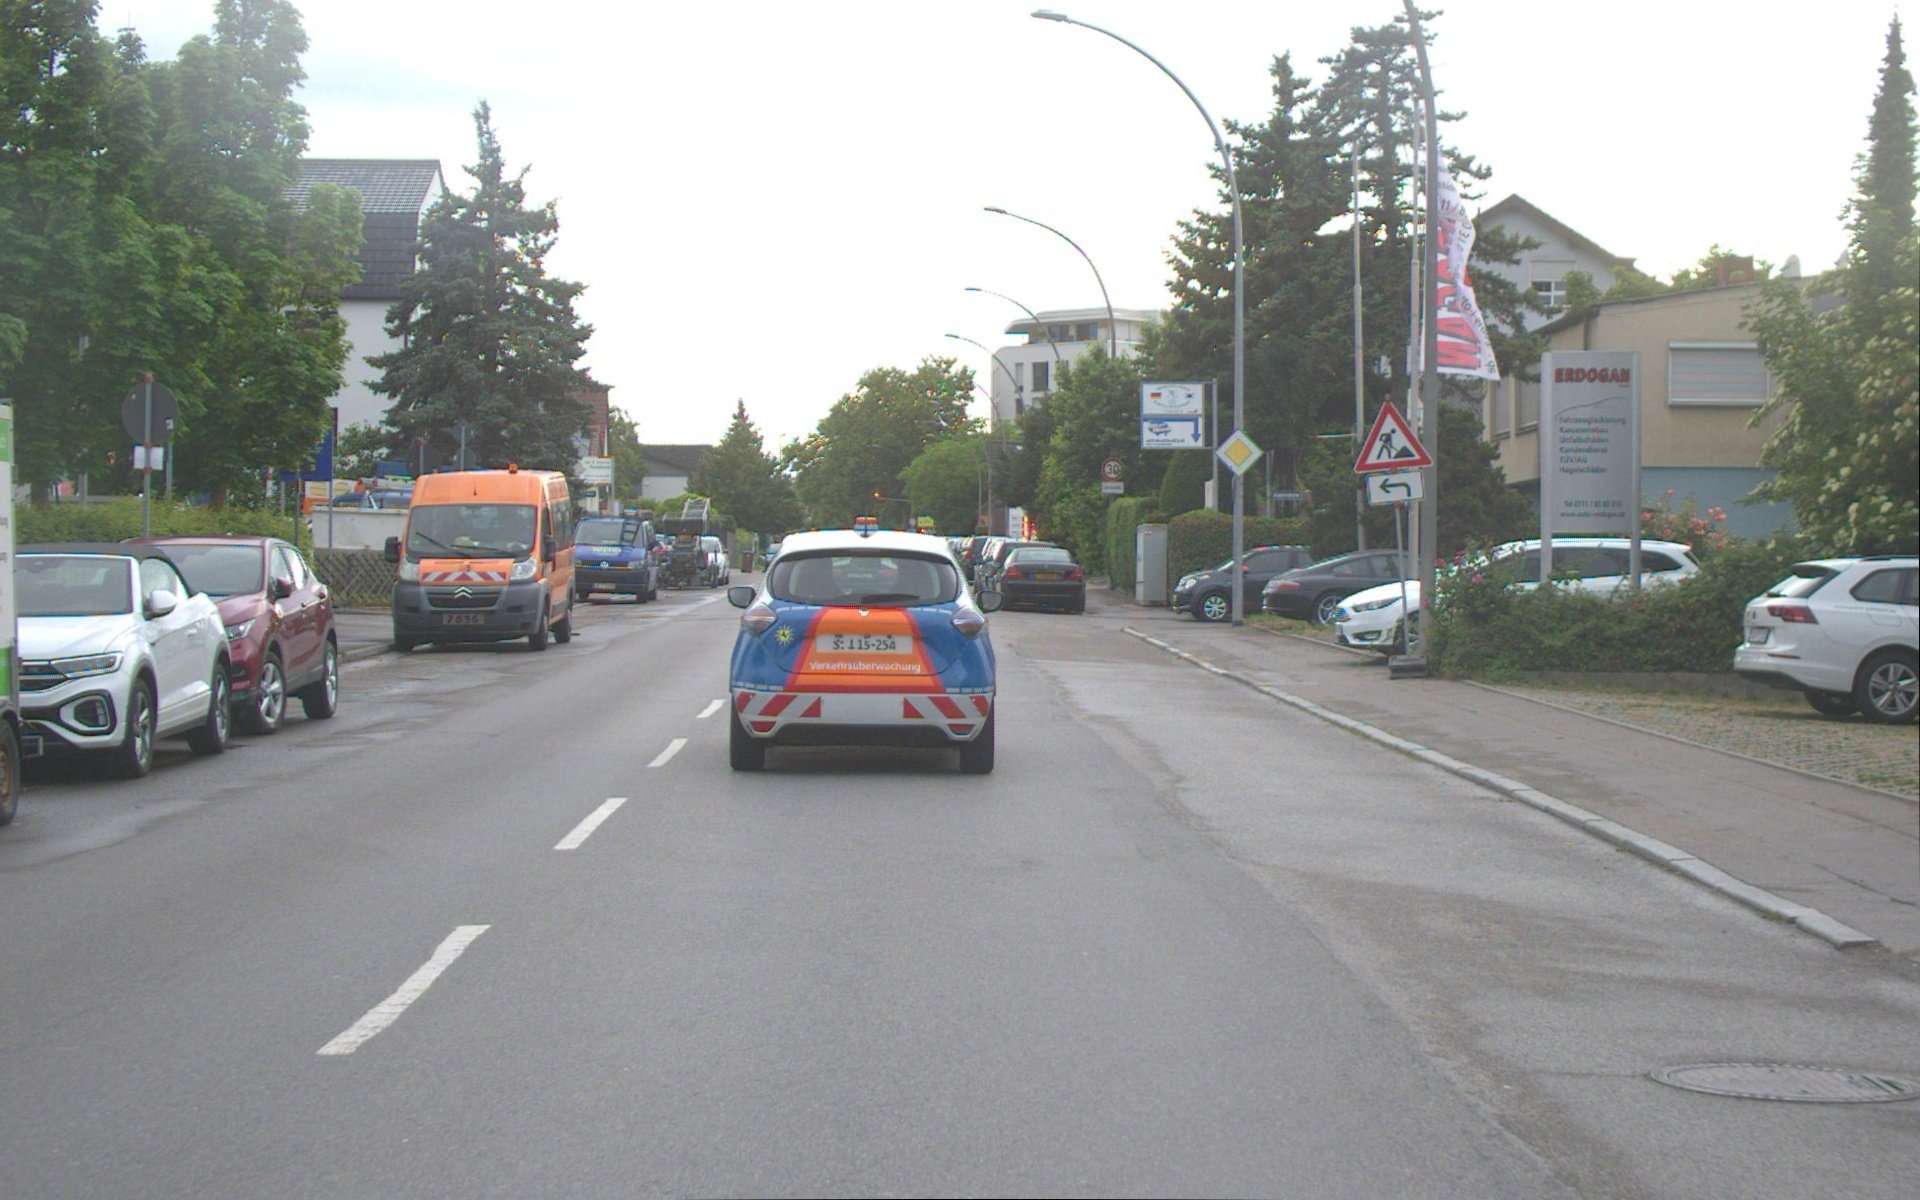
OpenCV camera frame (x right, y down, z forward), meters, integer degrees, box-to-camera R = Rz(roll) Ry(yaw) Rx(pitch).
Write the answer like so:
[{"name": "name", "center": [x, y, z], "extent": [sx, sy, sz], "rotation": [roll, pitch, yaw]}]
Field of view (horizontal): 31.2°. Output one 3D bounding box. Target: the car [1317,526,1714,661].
[{"name": "car", "center": [6.550, -0.085, 40.867], "extent": [4.337, 1.470, 1.903], "rotation": [1, 1, -2]}]

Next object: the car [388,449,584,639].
[{"name": "car", "center": [-6.636, -0.812, 48.772], "extent": [2.124, 2.529, 6.023], "rotation": [0, 1, -2]}]

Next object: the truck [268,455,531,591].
[{"name": "truck", "center": [-13.510, -1.843, 83.166], "extent": [5.911, 3.063, 2.450], "rotation": [2, 0, 0]}]

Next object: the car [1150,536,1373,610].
[{"name": "car", "center": [5.733, -0.519, 65.752], "extent": [3.986, 1.262, 1.951], "rotation": [2, 1, -3]}]

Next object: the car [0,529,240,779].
[{"name": "car", "center": [-6.153, 0.291, 23.345], "extent": [1.772, 1.493, 4.137], "rotation": [0, 2, -2]}]

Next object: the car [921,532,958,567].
[{"name": "car", "center": [-1.043, -2.548, 173.338], "extent": [1.650, 1.666, 4.001], "rotation": [2, 1, -3]}]

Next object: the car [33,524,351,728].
[{"name": "car", "center": [-6.314, 0.155, 28.713], "extent": [1.805, 1.568, 4.343], "rotation": [0, 1, -2]}]

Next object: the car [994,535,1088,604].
[{"name": "car", "center": [1.642, -0.651, 70.995], "extent": [1.589, 1.336, 4.093], "rotation": [2, 1, -3]}]

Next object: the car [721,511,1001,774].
[{"name": "car", "center": [-0.678, 0.245, 23.184], "extent": [1.731, 1.625, 3.495], "rotation": [0, 1, -2]}]

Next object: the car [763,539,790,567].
[{"name": "car", "center": [-9.812, -2.499, 183.956], "extent": [1.386, 1.478, 3.784], "rotation": [0, 1, -3]}]

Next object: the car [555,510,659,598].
[{"name": "car", "center": [-8.179, -1.070, 80.081], "extent": [1.993, 1.940, 5.366], "rotation": [1, 0, -2]}]

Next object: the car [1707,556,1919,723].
[{"name": "car", "center": [9.055, 0.371, 30.392], "extent": [4.415, 1.388, 1.880], "rotation": [2, 1, -2]}]

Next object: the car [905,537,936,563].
[{"name": "car", "center": [-2.384, -2.994, 205.258], "extent": [1.650, 1.478, 4.001], "rotation": [2, 1, -3]}]

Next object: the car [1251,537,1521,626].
[{"name": "car", "center": [6.657, -0.300, 54.088], "extent": [3.987, 1.262, 1.951], "rotation": [2, 1, 1]}]

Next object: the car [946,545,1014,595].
[{"name": "car", "center": [0.574, -0.903, 102.988], "extent": [1.711, 1.433, 4.527], "rotation": [2, 1, -4]}]

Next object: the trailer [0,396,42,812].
[{"name": "trailer", "center": [-6.182, 0.074, 17.512], "extent": [1.812, 2.306, 4.731], "rotation": [-2, 1, -2]}]

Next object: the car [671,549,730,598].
[{"name": "car", "center": [-7.976, -0.829, 105.769], "extent": [1.557, 1.428, 4.000], "rotation": [2, 1, -1]}]

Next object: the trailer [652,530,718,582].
[{"name": "trailer", "center": [-7.816, -1.262, 97.940], "extent": [1.717, 1.256, 5.245], "rotation": [2, 3, -3]}]

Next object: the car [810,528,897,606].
[{"name": "car", "center": [-2.210, -0.686, 70.549], "extent": [1.650, 1.516, 4.001], "rotation": [2, 1, -3]}]
